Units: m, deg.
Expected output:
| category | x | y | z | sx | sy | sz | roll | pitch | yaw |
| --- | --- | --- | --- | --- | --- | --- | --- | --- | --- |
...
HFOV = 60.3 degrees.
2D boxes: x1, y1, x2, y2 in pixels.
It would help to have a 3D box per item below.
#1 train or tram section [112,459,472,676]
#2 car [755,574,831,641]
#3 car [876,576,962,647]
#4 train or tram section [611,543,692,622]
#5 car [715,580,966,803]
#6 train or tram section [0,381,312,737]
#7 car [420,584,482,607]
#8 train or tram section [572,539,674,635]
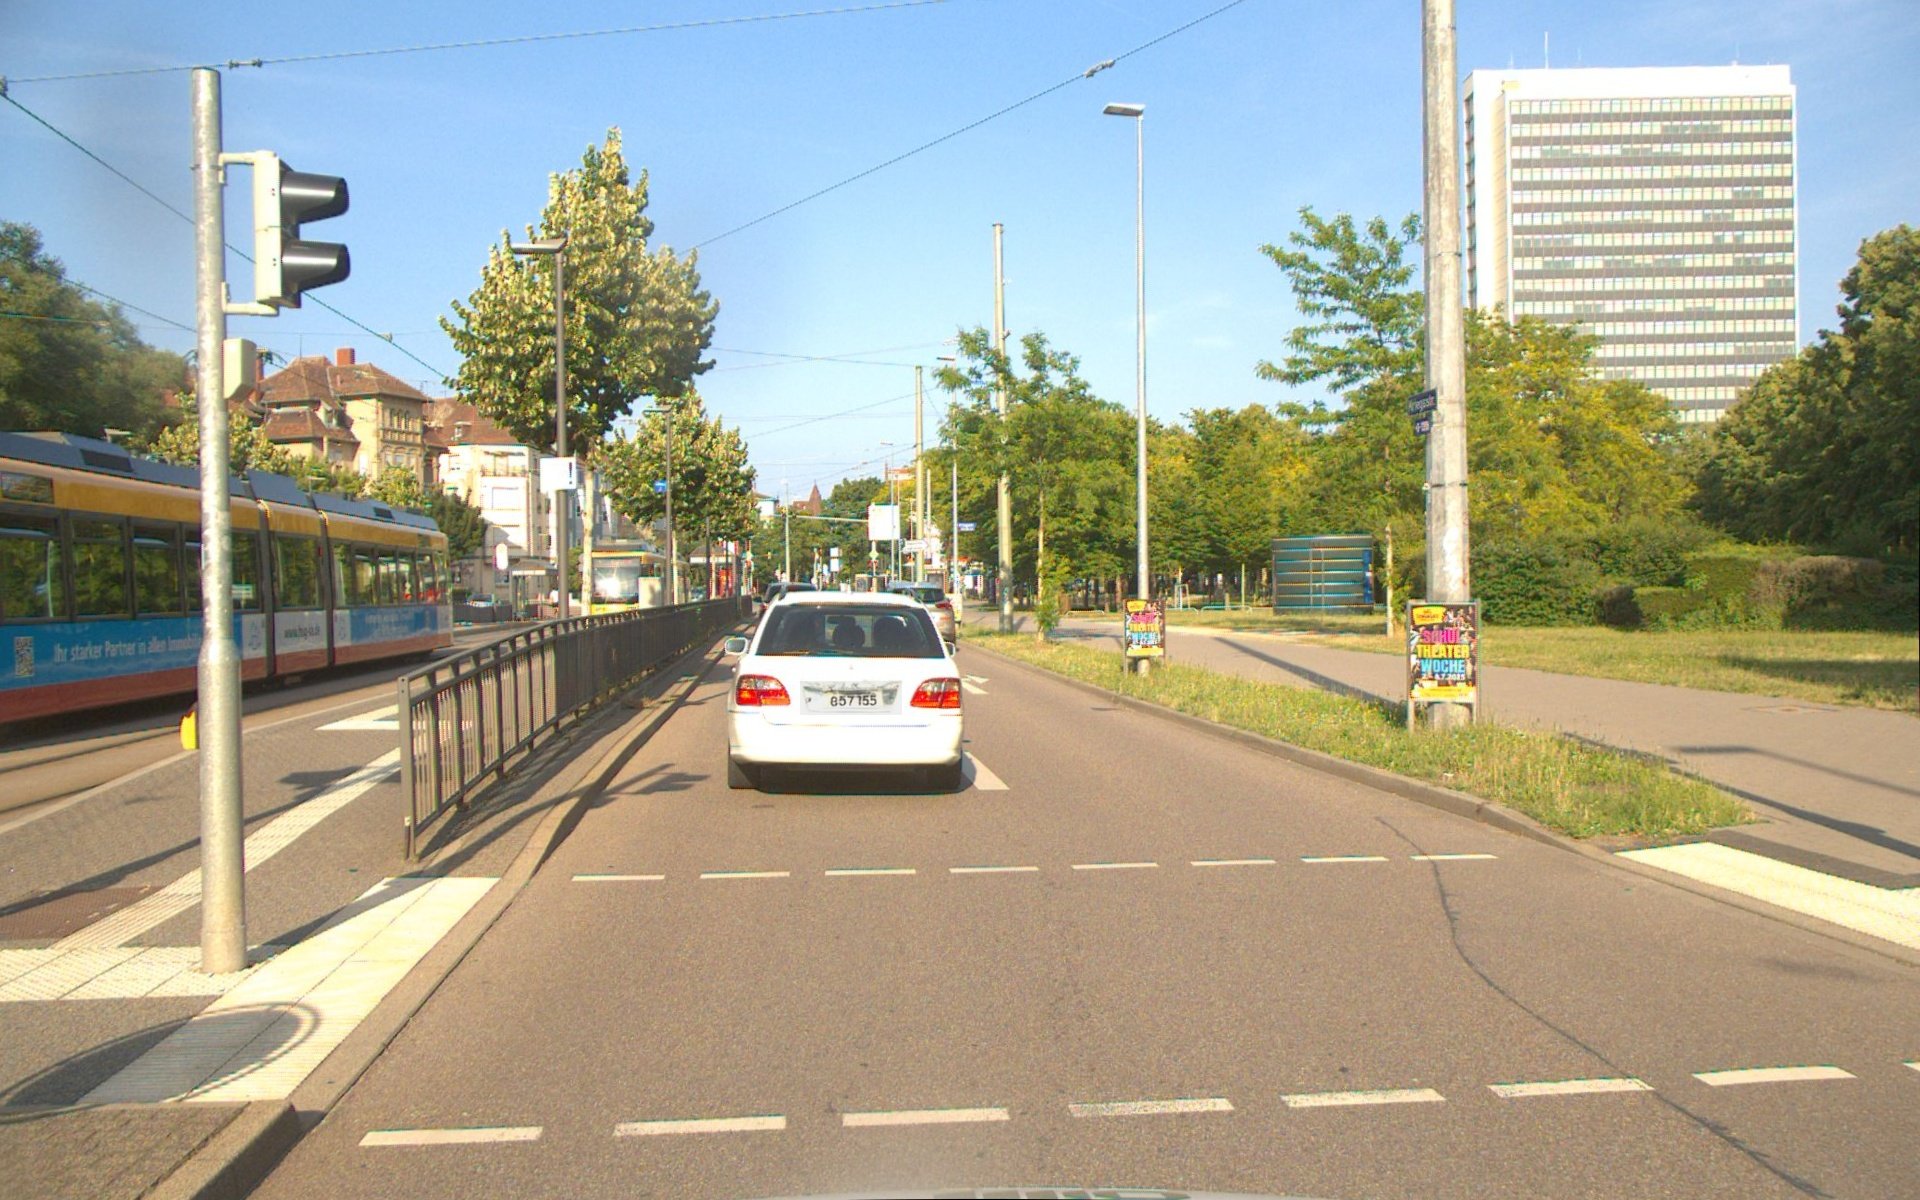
| category | x | y | z | sx | sy | sz | roll | pitch | yaw |
| --- | --- | --- | --- | --- | --- | --- | --- | --- | --- |
| train or tram section | -13.068 | -0.617 | 34.347 | 3.101 | 3.540 | 14.453 | 0 | 1 | -6 |
| car | -4.453 | 0.168 | 44.473 | 1.751 | 1.719 | 3.999 | 0 | 1 | -2 |
| car | -1.008 | 0.239 | 39.986 | 1.992 | 1.633 | 3.999 | 0 | 1 | -2 |
| train or tram section | -14.925 | -0.873 | 80.955 | 2.794 | 3.540 | 13.183 | 0 | 1 | -6 |
| car | -0.862 | 0.667 | 13.396 | 1.722 | 1.530 | 3.998 | 0 | -1 | -1 |
| train or tram section | -11.496 | -0.443 | 20.006 | 3.101 | 3.540 | 14.513 | 0 | 1 | -6 |
| car | -38.199 | -0.351 | 124.286 | 2.157 | 1.656 | 4.720 | 0 | 1 | 17 |
| train or tram section | -13.647 | -0.566 | 68.043 | 2.794 | 3.540 | 13.184 | 0 | 1 | -6 |
